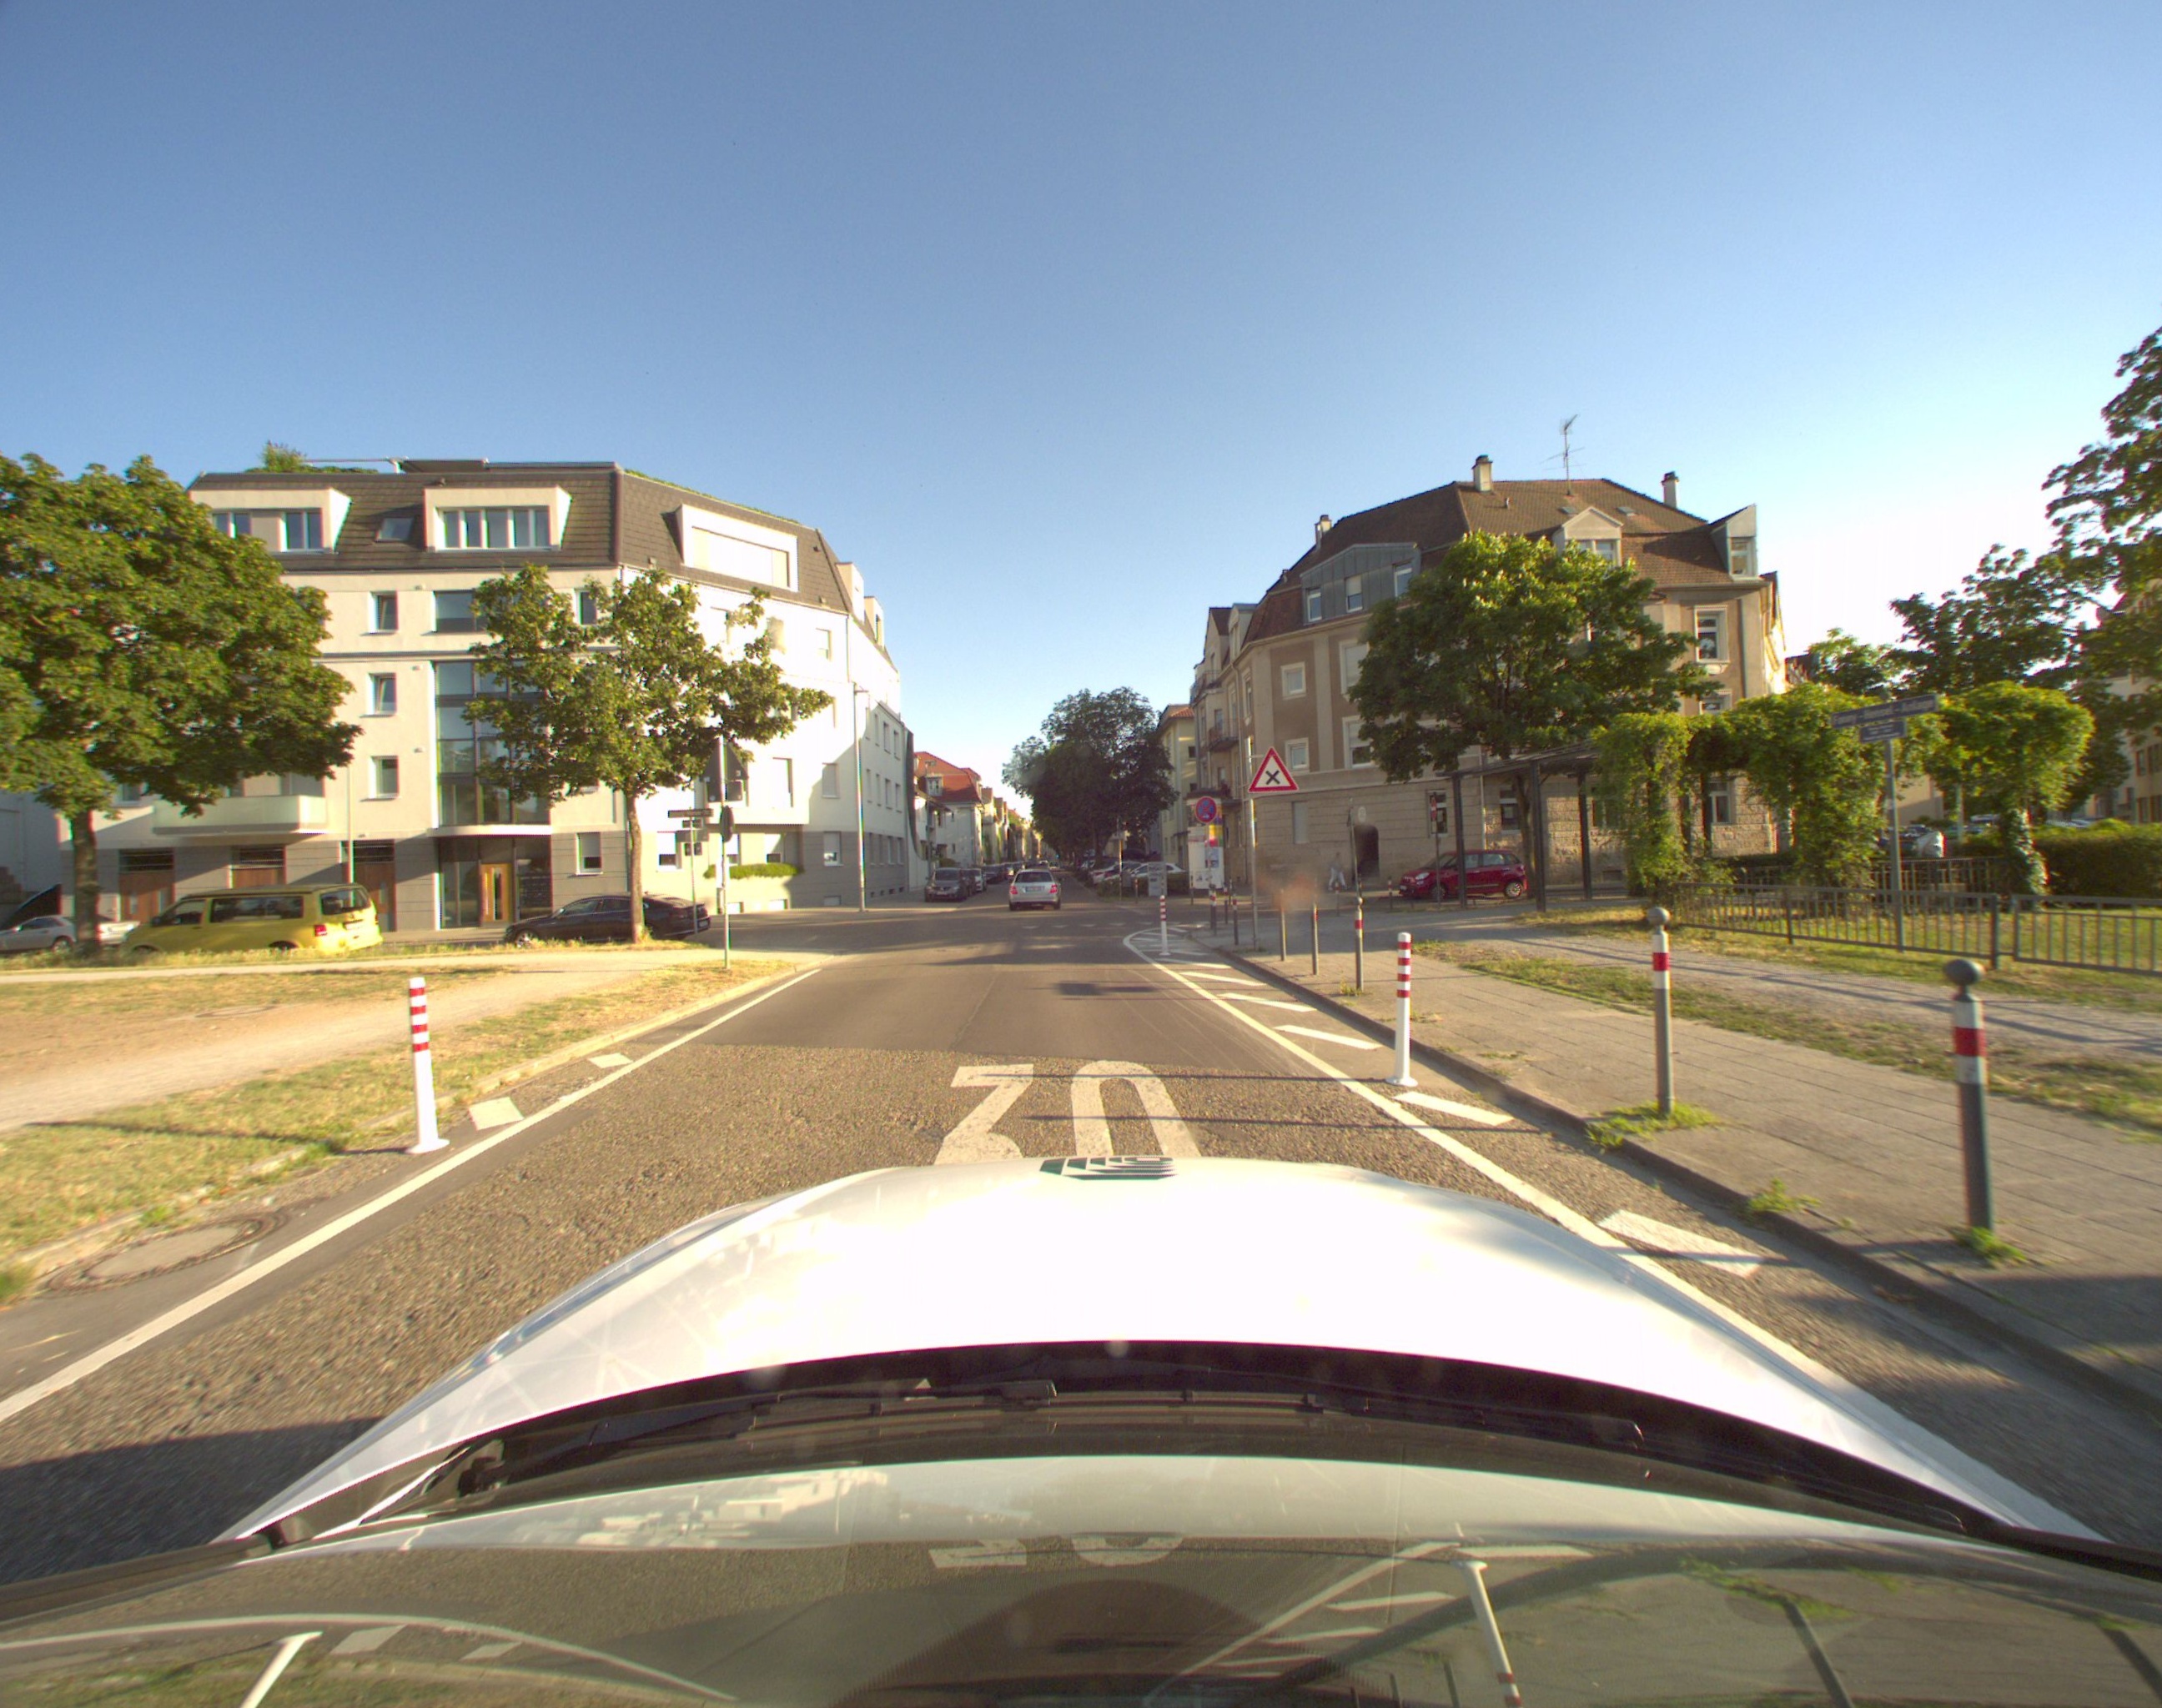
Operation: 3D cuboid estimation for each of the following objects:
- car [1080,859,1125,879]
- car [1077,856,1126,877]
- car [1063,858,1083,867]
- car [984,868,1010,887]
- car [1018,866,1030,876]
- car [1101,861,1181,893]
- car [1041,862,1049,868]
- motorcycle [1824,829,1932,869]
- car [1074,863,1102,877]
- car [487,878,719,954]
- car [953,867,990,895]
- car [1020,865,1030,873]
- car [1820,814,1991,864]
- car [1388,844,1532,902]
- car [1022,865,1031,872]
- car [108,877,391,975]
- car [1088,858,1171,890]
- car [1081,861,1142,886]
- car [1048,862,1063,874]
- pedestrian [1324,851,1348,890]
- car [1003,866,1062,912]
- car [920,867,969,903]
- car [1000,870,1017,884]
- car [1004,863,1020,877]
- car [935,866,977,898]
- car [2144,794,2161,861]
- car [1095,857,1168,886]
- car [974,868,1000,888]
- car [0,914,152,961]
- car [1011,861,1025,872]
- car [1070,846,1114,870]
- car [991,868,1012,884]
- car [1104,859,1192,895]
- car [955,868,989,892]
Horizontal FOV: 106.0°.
[{"bbox_3d":[1.879,1.273,70.574,3.723,1.558,1.723,-3,-1,-4],"label":"car"},{"bbox_3d":[2.009,1.226,79.129,4.615,1.836,1.952,-2,-1,-3],"label":"car"},{"bbox_3d":[-1.499,1.644,152.979,3.834,1.482,1.804,-2,0,-2],"label":"car"},{"bbox_3d":[-7.277,2.009,70.876,1.778,1.498,4.696,-2,-1,-2],"label":"car"},{"bbox_3d":[-9.551,2.836,135.941,1.795,1.482,3.853,-2,0,-2],"label":"car"},{"bbox_3d":[3.260,1.238,44.663,4.134,1.448,1.671,-3,-1,-4],"label":"car"},{"bbox_3d":[-8.738,2.707,198.647,1.522,1.474,4.273,-2,-2,3],"label":"car"},{"bbox_3d":[33.028,-0.176,33.841,0.852,1.487,3.215,-1,-2,-13],"label":"motorcycle"},{"bbox_3d":[0.888,2.072,107.027,3.588,1.660,1.647,-2,0,-5],"label":"car"},{"bbox_3d":[-12.143,1.547,20.925,4.810,1.669,1.787,-2,-1,-2],"label":"car"},{"bbox_3d":[-6.538,1.586,48.896,1.881,1.591,4.083,-2,-1,-5],"label":"car"},{"bbox_3d":[-10.898,2.986,159.377,1.795,1.387,3.603,-2,0,-2],"label":"car"},{"bbox_3d":[28.202,-0.512,27.939,4.062,1.533,1.811,-2,0,-1],"label":"car"},{"bbox_3d":[12.789,0.623,27.649,4.062,1.740,1.811,-2,1,-1],"label":"car"},{"bbox_3d":[-11.385,2.968,170.886,1.795,1.387,3.603,-2,0,-2],"label":"car"},{"bbox_3d":[-20.637,1.740,20.409,4.669,2.013,2.031,-2,3,-3],"label":"car"},{"bbox_3d":[2.806,1.132,47.304,4.474,1.525,1.948,-3,0,-8],"label":"car"},{"bbox_3d":[2.149,1.402,58.114,4.182,1.558,1.872,-3,-1,-4],"label":"car"},{"bbox_3d":[-3.363,1.911,108.879,1.811,1.473,4.216,-2,-1,0],"label":"car"},{"bbox_3d":[10.609,0.692,33.867,0.813,1.545,0.745,-4,-1,14],"label":"pedestrian"},{"bbox_3d":[-1.672,1.216,29.387,1.811,1.473,4.216,-2,-1,0],"label":"car"},{"bbox_3d":[-6.468,1.431,38.993,1.881,1.591,4.083,-2,-1,-5],"label":"car"},{"bbox_3d":[-8.227,2.545,92.272,1.655,1.499,3.751,-2,-1,-2],"label":"car"},{"bbox_3d":[-8.530,1.940,101.402,1.795,1.644,3.853,-2,0,-2],"label":"car"},{"bbox_3d":[-6.727,1.485,44.015,1.881,1.591,4.083,-2,-1,-5],"label":"car"},{"bbox_3d":[46.750,-1.196,31.469,2.325,2.745,6.623,-1,-1,-31],"label":"car"},{"bbox_3d":[3.229,1.140,52.894,4.517,1.641,1.872,-3,-1,-4],"label":"car"},{"bbox_3d":[-7.527,1.870,65.533,1.851,1.498,4.646,-2,-1,-5],"label":"car"},{"bbox_3d":[-32.111,2.615,25.579,3.714,1.240,1.622,-2,-2,-7],"label":"car"},{"bbox_3d":[-9.224,1.787,119.667,1.795,1.482,3.853,-2,0,-2],"label":"car"},{"bbox_3d":[1.458,0.481,110.032,5.533,2.968,2.468,-2,0,-5],"label":"car"},{"bbox_3d":[-7.557,2.067,77.363,1.655,1.488,3.751,-2,-1,-2],"label":"car"},{"bbox_3d":[3.254,1.112,39.889,4.040,1.505,1.859,-3,-1,-4],"label":"car"},{"bbox_3d":[-7.101,1.654,53.442,1.753,1.447,4.139,-2,-1,-2],"label":"car"}]
